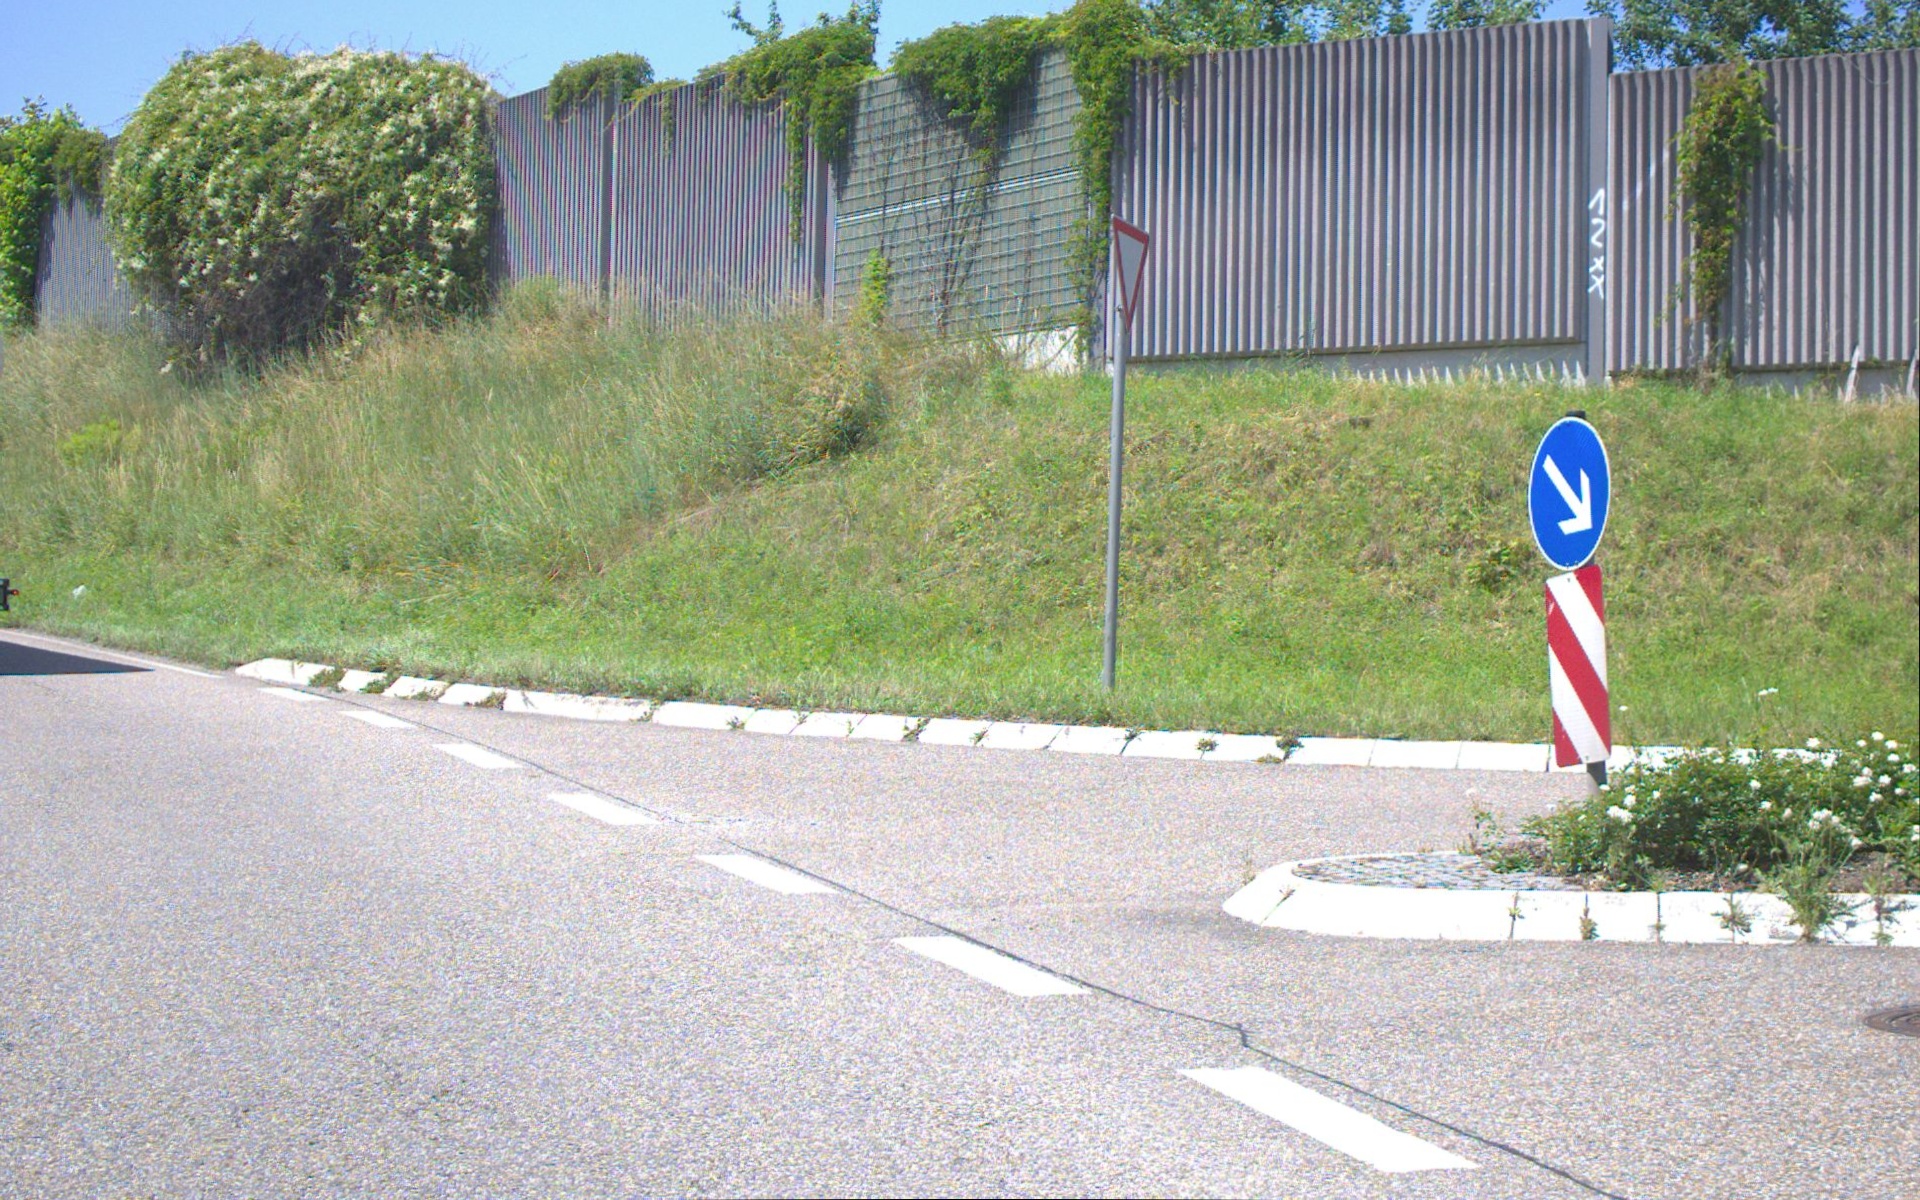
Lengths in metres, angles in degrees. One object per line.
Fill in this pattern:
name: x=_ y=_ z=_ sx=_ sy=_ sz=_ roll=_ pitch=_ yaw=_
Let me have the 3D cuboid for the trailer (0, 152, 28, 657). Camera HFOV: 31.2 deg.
trailer: x=-11.867 y=-1.902 z=33.033 sx=2.661 sy=4.174 sz=11.906 roll=1 pitch=2 yaw=-30
